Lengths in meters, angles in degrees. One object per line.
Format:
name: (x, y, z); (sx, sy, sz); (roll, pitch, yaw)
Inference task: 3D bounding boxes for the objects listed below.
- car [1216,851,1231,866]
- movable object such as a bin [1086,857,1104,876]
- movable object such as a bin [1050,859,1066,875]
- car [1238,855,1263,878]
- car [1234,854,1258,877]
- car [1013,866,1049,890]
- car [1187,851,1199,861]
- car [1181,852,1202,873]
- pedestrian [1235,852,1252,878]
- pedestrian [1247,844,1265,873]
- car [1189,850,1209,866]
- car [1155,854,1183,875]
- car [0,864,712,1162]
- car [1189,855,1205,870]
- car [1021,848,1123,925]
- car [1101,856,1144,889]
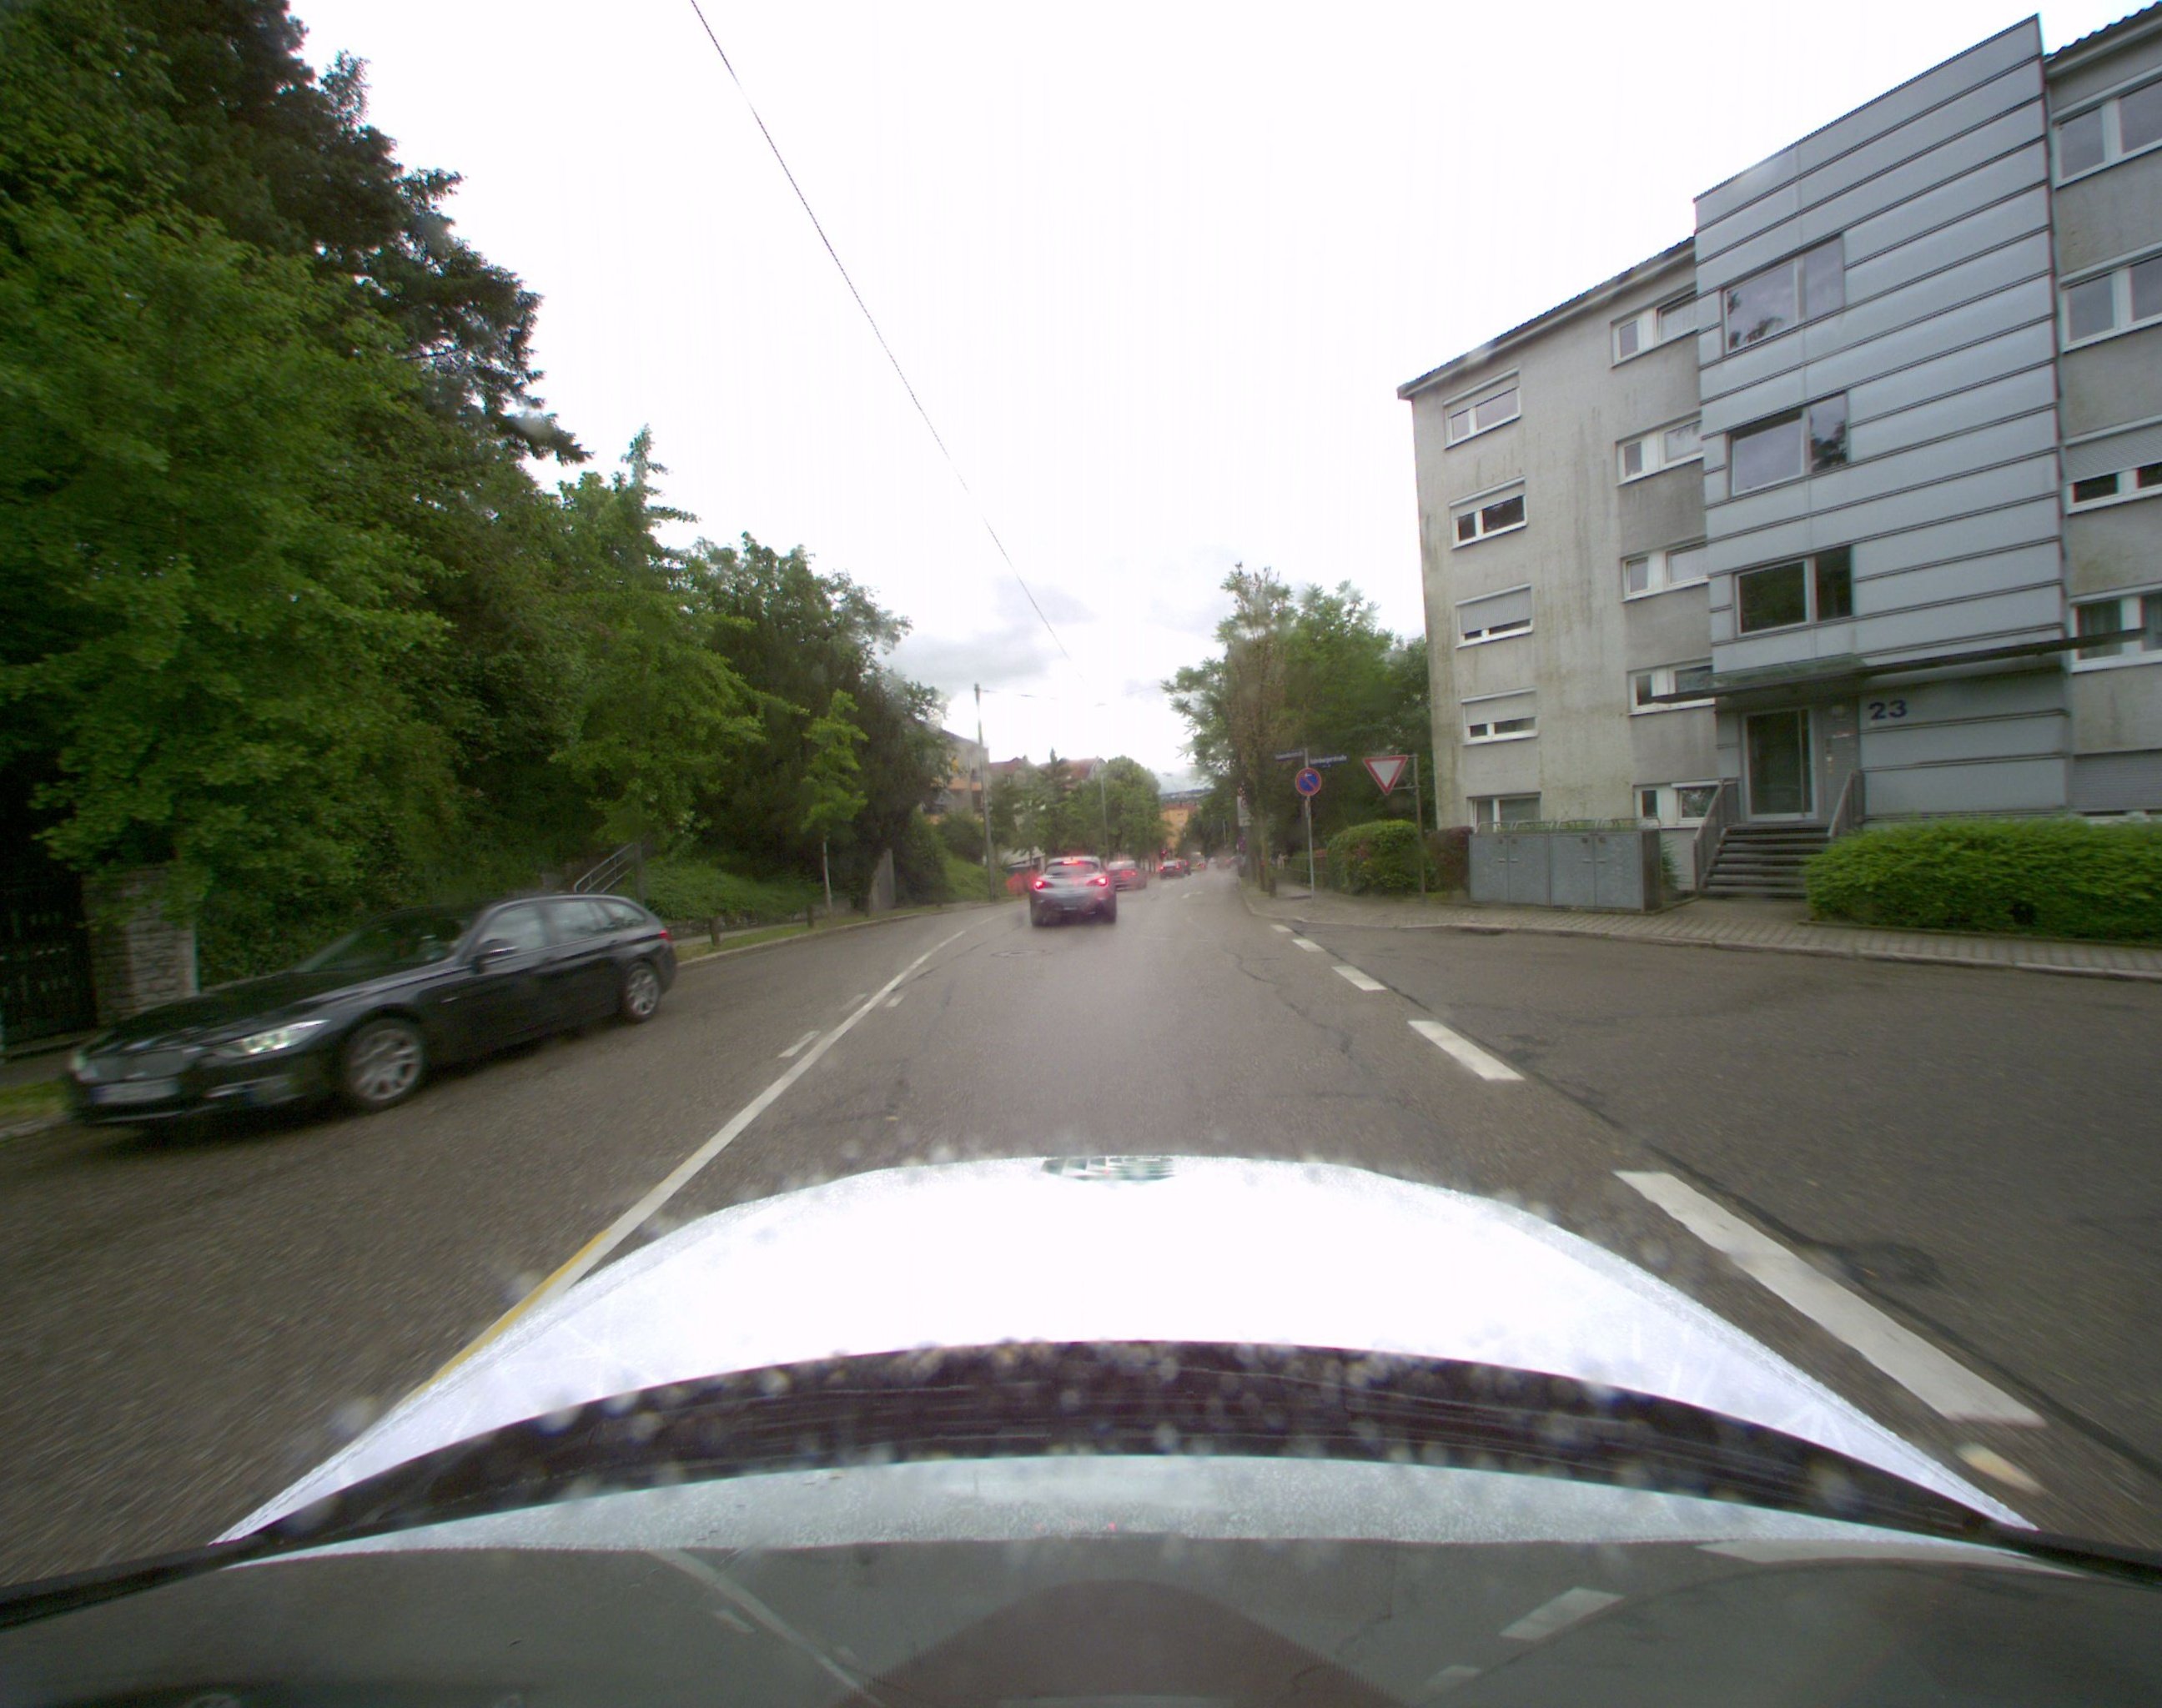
car: (20.524, 0.604, 116.889); (1.981, 2.036, 4.750); (-1, 1, 11)
movable object such as a bin: (1.140, 1.010, 65.716); (1.265, 1.387, 0.490); (-3, 0, 8)
movable object such as a bin: (-2.009, 1.154, 72.153); (1.264, 1.387, 0.490); (-3, 0, 8)
car: (11.833, 0.861, 57.053); (1.495, 1.435, 4.011); (-5, -1, 9)
car: (12.746, 0.851, 62.852); (1.670, 1.464, 4.013); (-5, 0, 12)
car: (-3.608, 1.712, 59.484); (1.732, 1.456, 3.893); (-8, -1, 8)
car: (22.349, 0.349, 162.146); (1.980, 1.784, 4.013); (-1, 1, 11)
car: (10.156, 0.779, 74.897); (1.758, 1.781, 3.987); (-1, 1, 9)
pedestrian: (10.934, 0.748, 54.830); (0.736, 1.723, 0.761); (-6, 0, -15)
pedestrian: (11.750, 0.320, 54.694); (0.668, 1.836, 0.681); (-6, 0, -34)
car: (15.725, 0.507, 108.639); (2.319, 2.036, 4.750); (-1, 1, 11)
car: (6.943, 0.772, 63.735); (1.949, 1.472, 3.961); (-1, 1, 9)
car: (-5.600, 1.022, 7.310); (1.902, 1.584, 4.595); (-7, -1, 6)
car: (13.814, 1.007, 97.036); (1.744, 1.651, 4.010); (-1, 0, 9)
car: (-0.087, 0.666, 18.691); (1.937, 1.431, 3.888); (-4, 0, 4)
car: (2.003, 0.828, 38.624); (1.789, 1.323, 4.006); (-3, 1, 5)
